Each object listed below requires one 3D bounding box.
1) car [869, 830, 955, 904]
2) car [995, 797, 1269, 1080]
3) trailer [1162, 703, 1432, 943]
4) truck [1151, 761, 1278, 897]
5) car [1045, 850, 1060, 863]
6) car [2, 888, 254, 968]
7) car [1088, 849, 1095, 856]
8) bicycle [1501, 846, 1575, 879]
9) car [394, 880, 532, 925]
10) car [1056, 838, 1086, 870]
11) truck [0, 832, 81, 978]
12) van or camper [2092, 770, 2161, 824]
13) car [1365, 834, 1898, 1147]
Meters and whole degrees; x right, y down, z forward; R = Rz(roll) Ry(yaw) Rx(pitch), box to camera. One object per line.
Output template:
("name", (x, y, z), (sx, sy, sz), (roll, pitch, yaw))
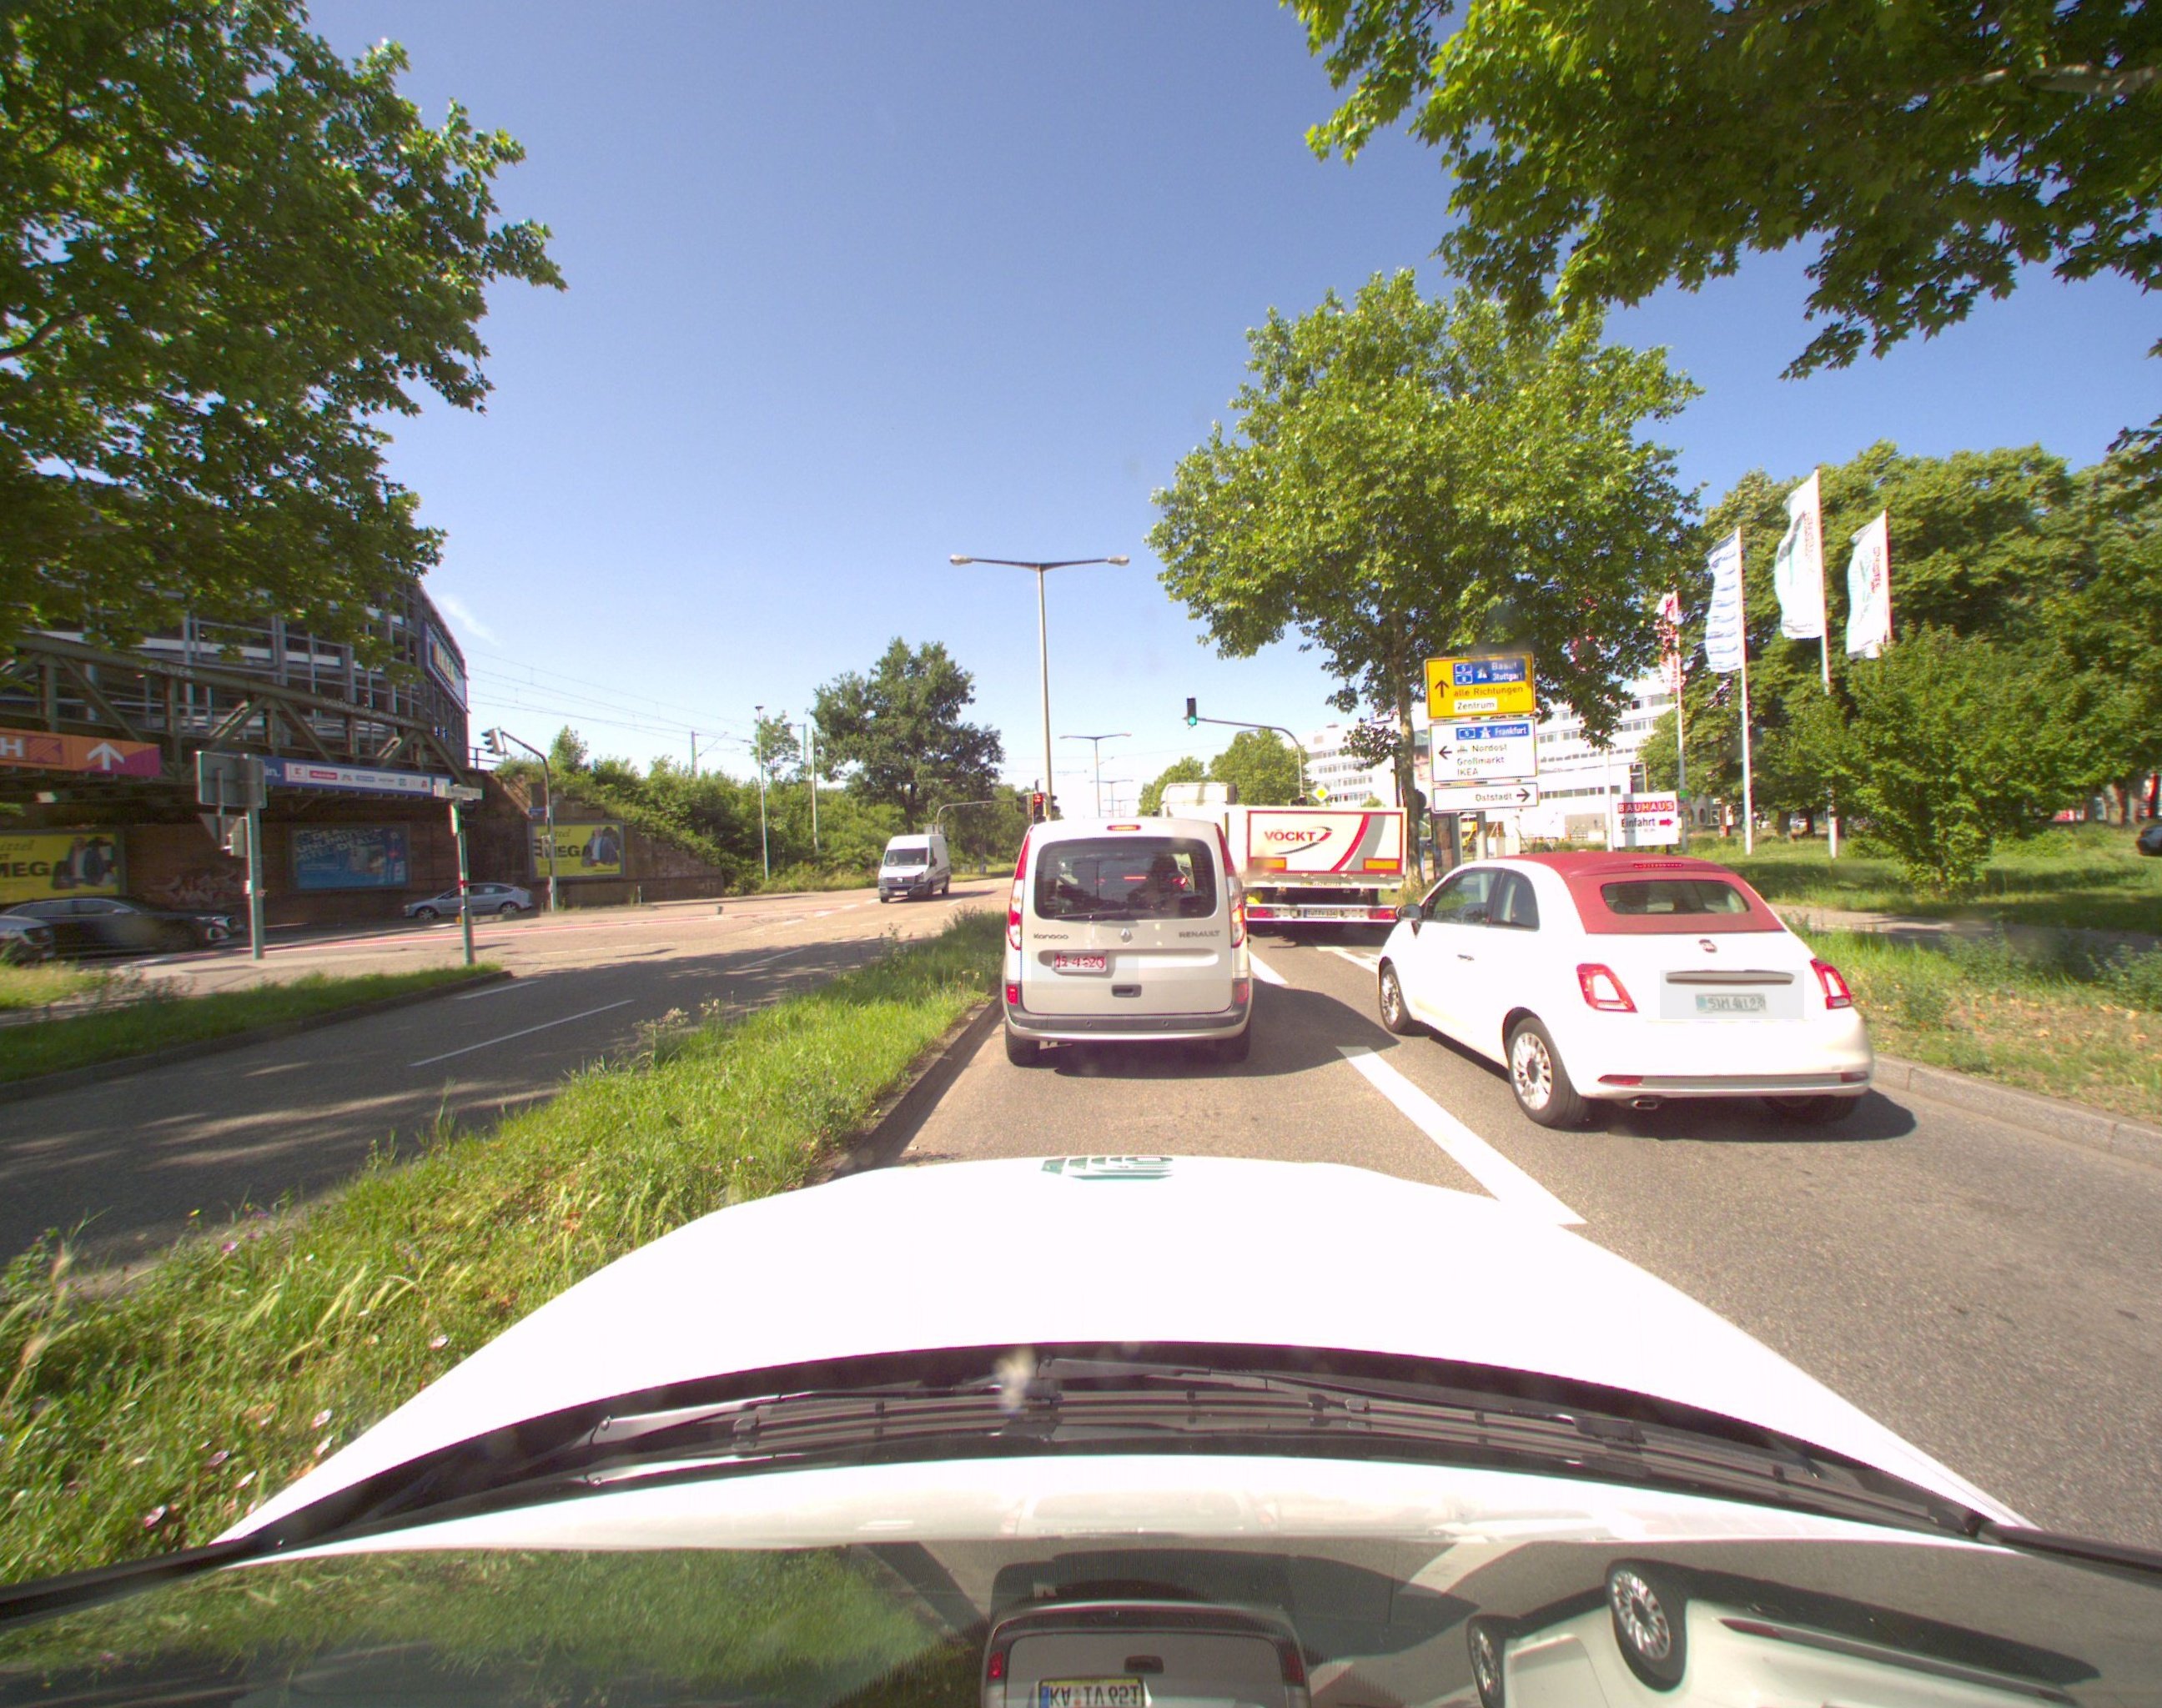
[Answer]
("car", (-6.779, 0.506, 33.336), (1.986, 2.662, 5.788), (-3, 0, 2))
("car", (0.393, 0.571, 7.320), (1.779, 1.838, 4.001), (0, -1, 2))
("trailer", (3.910, -0.427, 18.706), (2.890, 3.622, 12.684), (0, 0, 0))
("truck", (3.902, -0.644, 25.537), (2.900, 3.643, 7.190), (0, -1, 1))
("car", (-3.746, 0.321, 106.614), (1.693, 1.508, 4.002), (-2, 0, 2))
("car", (-25.768, 1.927, 22.267), (4.015, 1.646, 1.885), (-4, 1, -32))
("car", (3.189, -0.407, 251.095), (1.880, 2.014, 4.004), (0, -1, 4))
("bicycle", (14.986, 0.280, 26.744), (1.985, 1.014, 0.624), (-3, 0, 18))
("car", (-24.786, 1.909, 32.877), (4.240, 1.350, 1.624), (-4, 1, -32))
("car", (-0.812, 0.018, 69.909), (1.984, 2.607, 5.140), (-3, -1, 5))
("truck", (-26.326, 1.280, 16.679), (6.890, 3.105, 2.196), (-4, 1, -32))
("van or camper", (63.643, -3.373, 46.488), (2.007, 2.942, 7.213), (0, -1, -32))
("car", (3.247, 0.679, 5.603), (1.532, 1.514, 3.261), (0, -1, 2))
